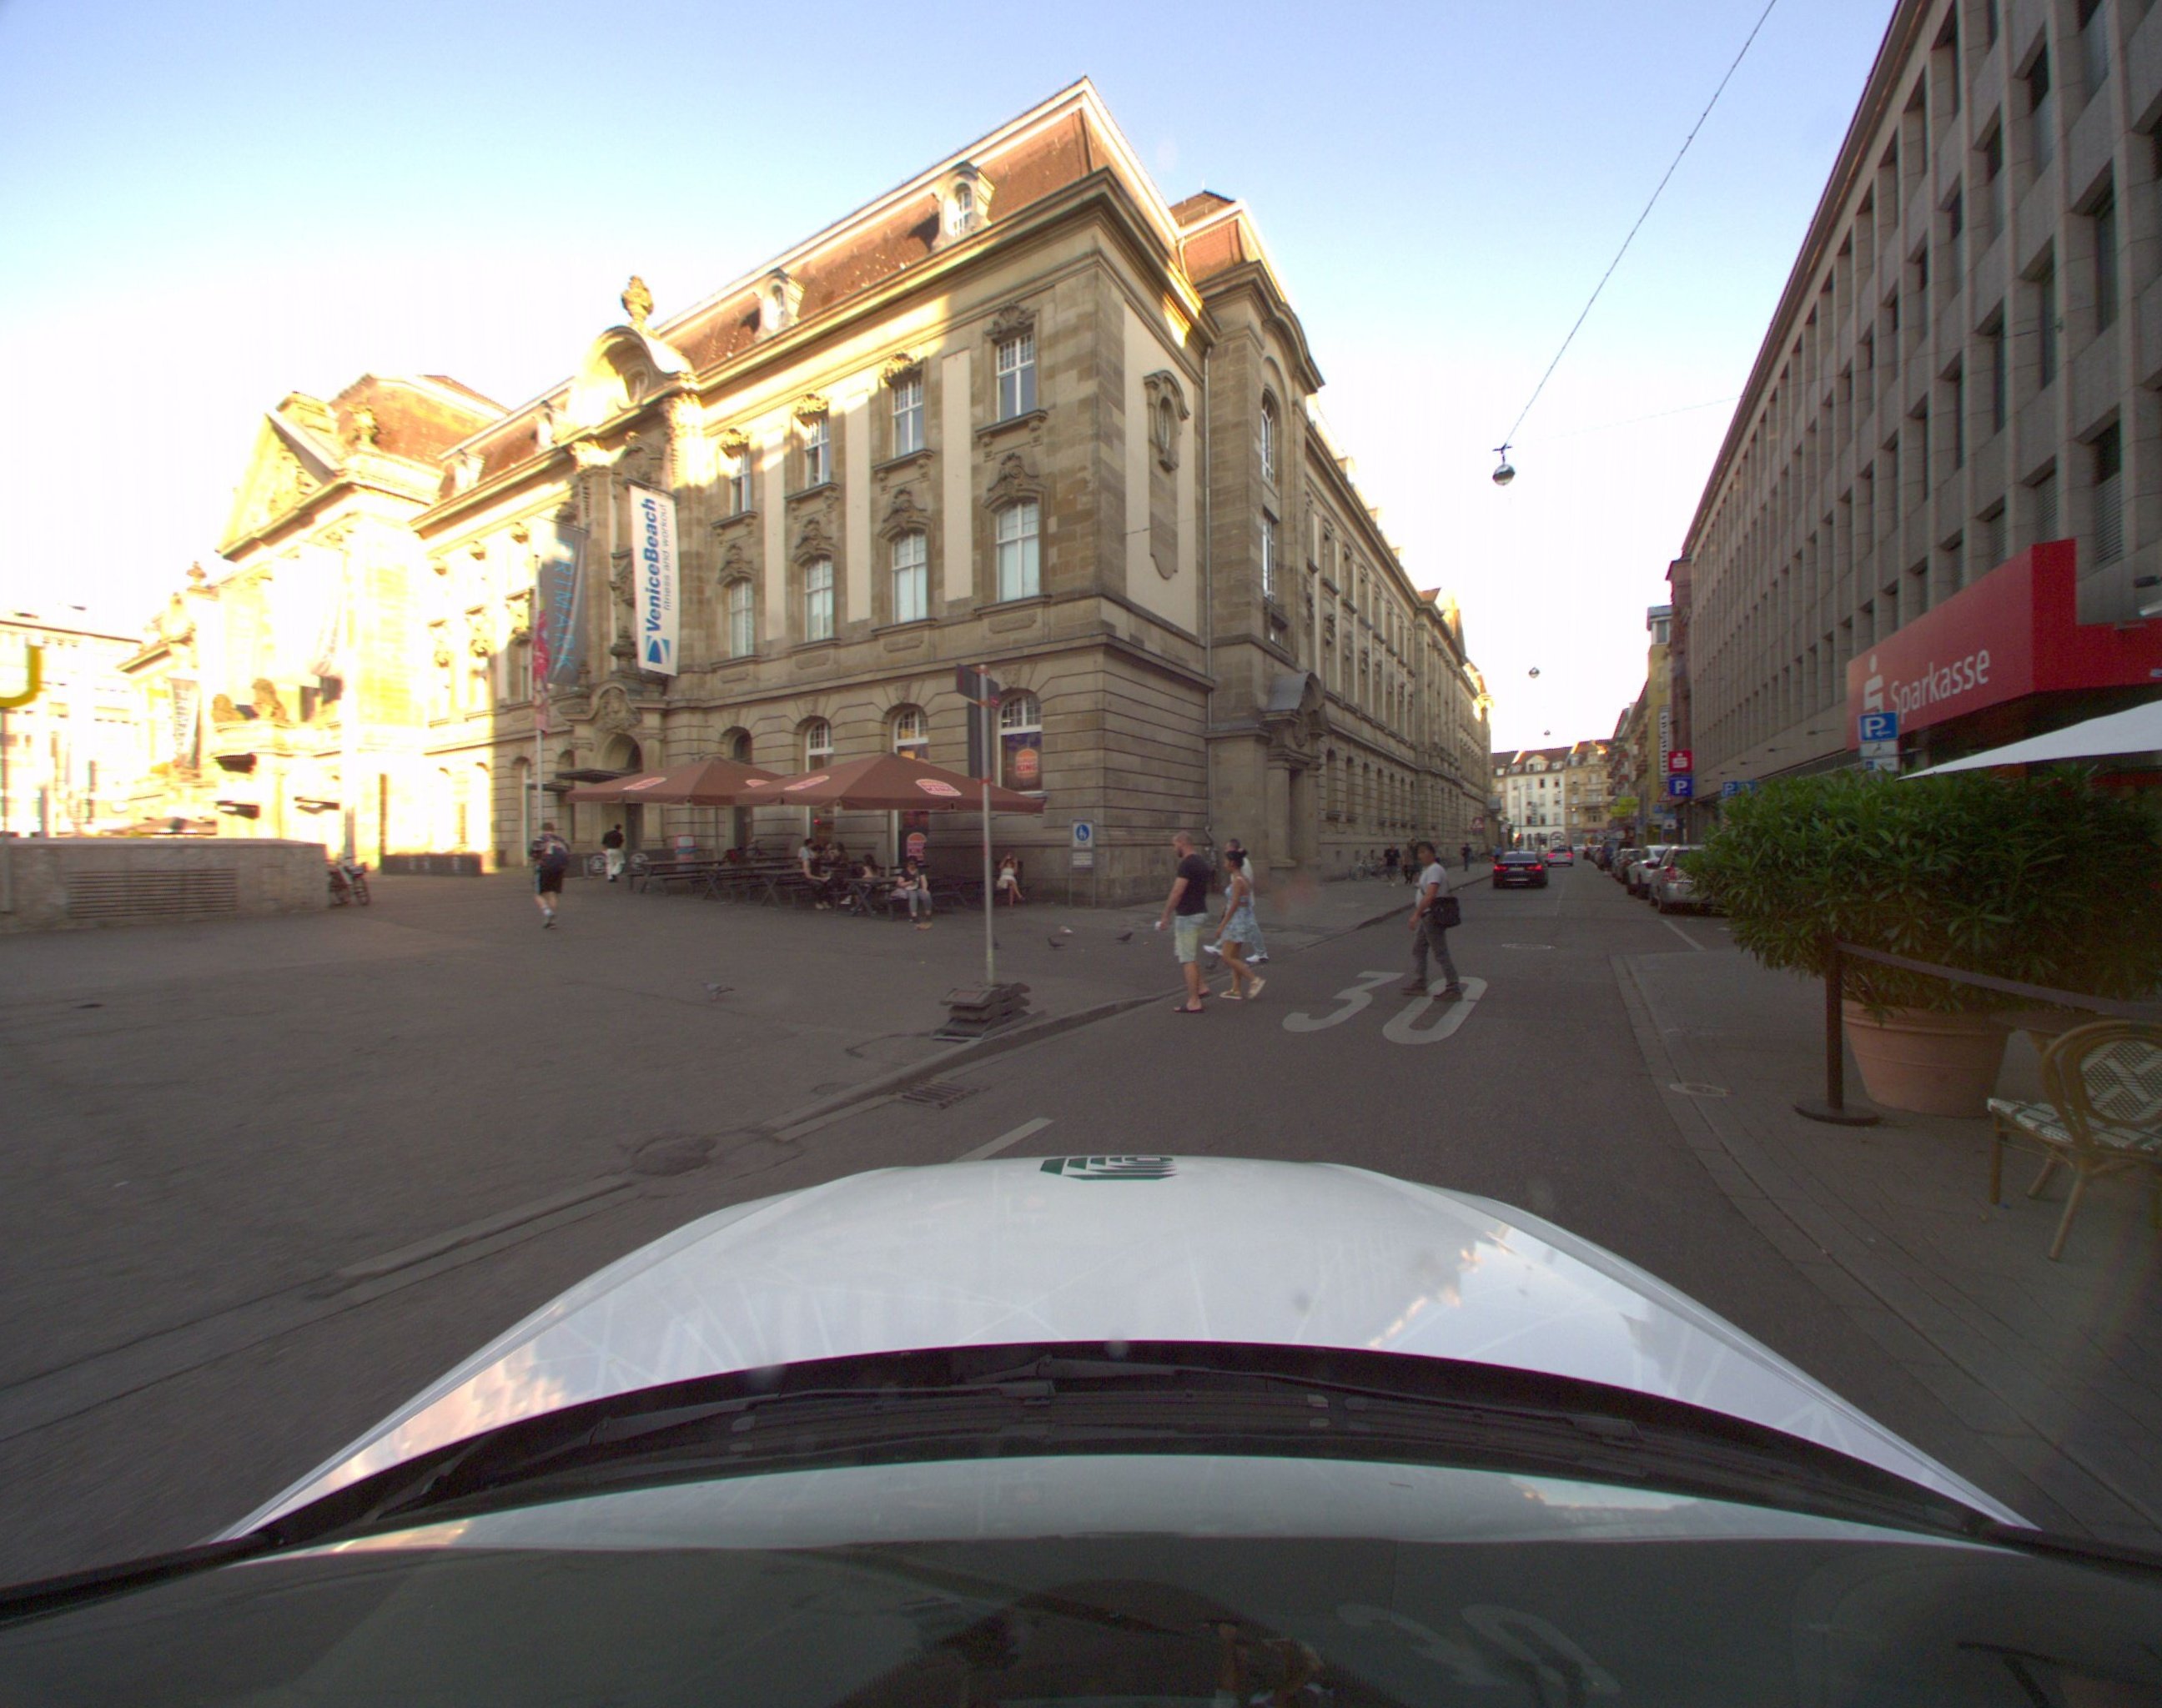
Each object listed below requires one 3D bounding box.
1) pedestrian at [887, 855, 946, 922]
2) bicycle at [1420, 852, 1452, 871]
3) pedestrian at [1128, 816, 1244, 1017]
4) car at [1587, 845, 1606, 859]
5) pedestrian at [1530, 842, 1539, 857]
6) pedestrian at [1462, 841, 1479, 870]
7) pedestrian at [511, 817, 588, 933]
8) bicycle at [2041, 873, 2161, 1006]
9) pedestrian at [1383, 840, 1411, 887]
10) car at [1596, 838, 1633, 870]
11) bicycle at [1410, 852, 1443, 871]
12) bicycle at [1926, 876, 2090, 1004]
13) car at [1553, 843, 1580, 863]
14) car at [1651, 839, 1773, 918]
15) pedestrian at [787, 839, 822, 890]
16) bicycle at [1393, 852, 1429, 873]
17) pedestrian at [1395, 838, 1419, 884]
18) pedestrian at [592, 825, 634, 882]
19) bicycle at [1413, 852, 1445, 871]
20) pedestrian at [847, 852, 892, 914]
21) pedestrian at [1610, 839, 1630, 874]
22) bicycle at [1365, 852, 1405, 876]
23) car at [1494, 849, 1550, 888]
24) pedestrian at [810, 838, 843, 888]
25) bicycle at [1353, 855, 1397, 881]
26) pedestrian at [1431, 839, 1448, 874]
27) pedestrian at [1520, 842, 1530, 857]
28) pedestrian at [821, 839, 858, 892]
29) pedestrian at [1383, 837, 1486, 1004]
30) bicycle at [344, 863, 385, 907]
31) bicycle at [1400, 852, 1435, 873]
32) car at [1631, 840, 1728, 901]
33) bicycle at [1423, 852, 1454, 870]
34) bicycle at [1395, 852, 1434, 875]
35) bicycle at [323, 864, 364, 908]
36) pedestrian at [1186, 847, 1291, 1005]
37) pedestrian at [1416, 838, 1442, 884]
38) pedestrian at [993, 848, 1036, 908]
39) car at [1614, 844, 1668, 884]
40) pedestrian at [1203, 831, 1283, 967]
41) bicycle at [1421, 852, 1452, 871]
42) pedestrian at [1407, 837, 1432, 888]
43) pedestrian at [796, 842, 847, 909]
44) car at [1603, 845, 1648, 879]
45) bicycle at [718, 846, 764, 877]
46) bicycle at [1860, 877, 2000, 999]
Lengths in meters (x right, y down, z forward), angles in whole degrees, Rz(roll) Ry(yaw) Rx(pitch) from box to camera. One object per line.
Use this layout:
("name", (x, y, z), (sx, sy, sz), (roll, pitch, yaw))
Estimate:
("pedestrian", (-3.243, 0.664, 16.015), (0.786, 1.242, 0.818), (1, 2, -45))
("bicycle", (21.066, 0.442, 48.349), (1.663, 1.041, 0.490), (2, 1, 30))
("pedestrian", (1.045, 0.576, 8.015), (0.863, 1.839, 0.811), (0, -1, 31))
("car", (58.323, -0.206, 92.178), (1.628, 1.523, 3.305), (2, 1, 31))
("pedestrian", (54.548, -0.542, 97.980), (0.925, 1.752, 0.815), (3, 2, 28))
("pedestrian", (23.929, 0.082, 50.037), (0.796, 1.752, 0.815), (3, 2, 29))
("pedestrian", (-8.725, 0.320, 13.379), (0.795, 1.823, 0.816), (1, 1, 36))
("bicycle", (9.578, 0.727, 7.421), (0.553, 1.041, 1.696), (-2, -1, 32))
("pedestrian", (11.857, 0.349, 30.573), (0.790, 1.675, 0.981), (3, 2, 29))
("car", (35.158, -0.027, 53.728), (1.852, 2.018, 3.789), (2, 1, 31))
("bicycle", (19.919, 0.447, 46.940), (1.663, 1.041, 0.490), (2, 1, 30))
("bicycle", (8.856, 0.770, 7.857), (0.553, 1.041, 1.696), (-2, -1, 32))
("car", (37.819, -0.095, 63.505), (1.777, 1.510, 4.025), (0, 1, 30))
("car", (14.883, 0.498, 19.416), (1.753, 1.636, 4.078), (2, 1, 31))
("pedestrian", (-7.273, 0.266, 21.435), (0.575, 1.308, 0.597), (2, 1, 27))
("bicycle", (17.429, 0.455, 43.024), (1.663, 1.041, 0.490), (2, 1, 30))
("pedestrian", (12.818, 0.270, 32.027), (0.682, 1.752, 0.726), (3, 2, 29))
("pedestrian", (-13.047, -0.029, 22.725), (0.850, 1.565, 0.845), (0, 1, -19))
("bicycle", (20.208, 0.446, 47.300), (1.663, 1.041, 0.490), (2, 1, 30))
("pedestrian", (-4.408, 0.595, 16.948), (0.621, 1.226, 0.692), (1, 1, -44))
("pedestrian", (27.599, 0.120, 41.727), (0.717, 1.791, 0.828), (-1, 0, 42))
("bicycle", (13.817, 0.466, 37.058), (1.667, 1.041, 0.489), (1, 1, 14))
("car", (17.355, 0.532, 31.986), (1.753, 1.409, 4.078), (-1, 0, 31))
("pedestrian", (-6.865, 0.247, 21.968), (0.575, 1.308, 0.597), (3, 1, 29))
("bicycle", (12.465, 0.567, 34.555), (1.663, 1.041, 0.490), (2, 1, 37))
("pedestrian", (18.801, 0.131, 42.695), (0.712, 1.752, 0.673), (3, 2, 29))
("pedestrian", (53.512, -0.534, 98.112), (0.925, 1.752, 0.815), (3, 2, 28))
("pedestrian", (-6.210, 0.287, 20.961), (0.601, 1.308, 0.613), (3, 1, 27))
("pedestrian", (3.710, 0.659, 8.539), (0.860, 1.646, 0.737), (-1, -1, 34))
("bicycle", (-14.893, 0.631, 16.917), (0.987, 0.867, 0.318), (0, 2, 30))
("bicycle", (18.193, 0.452, 44.055), (1.663, 1.041, 0.490), (2, 1, 30))
("car", (17.950, 0.428, 24.603), (1.753, 1.636, 4.115), (2, 1, 28))
("bicycle", (21.910, 0.440, 49.897), (1.663, 1.041, 0.490), (2, 1, 30))
("bicycle", (16.273, 0.455, 39.734), (1.663, 1.041, 0.490), (2, 1, 30))
("bicycle", (-15.064, 0.640, 16.636), (0.987, 0.867, 0.318), (0, 2, 30))
("pedestrian", (1.689, 0.720, 8.700), (0.863, 1.581, 0.811), (0, -1, 31))
("pedestrian", (13.706, 0.263, 32.044), (0.779, 1.752, 0.726), (3, 2, 29))
("pedestrian", (-1.529, 0.531, 18.607), (0.667, 1.308, 0.765), (-1, 4, -34))
("car", (23.344, 0.374, 34.061), (1.628, 1.523, 3.305), (2, 1, 31))
("pedestrian", (2.342, 0.604, 11.733), (0.863, 1.839, 0.872), (2, 2, 26))
("bicycle", (21.272, 0.442, 48.770), (1.663, 1.041, 0.490), (2, 1, 30))
("pedestrian", (12.553, 0.309, 30.193), (0.691, 1.811, 0.981), (3, 2, 29))
("pedestrian", (-5.574, 0.446, 17.496), (0.645, 1.383, 0.811), (3, 1, 42))
("car", (26.297, 0.368, 39.423), (1.628, 1.523, 3.305), (2, 1, 31))
("bicycle", (-10.162, 0.216, 24.377), (0.405, 0.894, 1.330), (1, 2, 27))
("bicycle", (8.484, 0.784, 8.213), (0.553, 1.041, 1.696), (-2, -1, 32))
